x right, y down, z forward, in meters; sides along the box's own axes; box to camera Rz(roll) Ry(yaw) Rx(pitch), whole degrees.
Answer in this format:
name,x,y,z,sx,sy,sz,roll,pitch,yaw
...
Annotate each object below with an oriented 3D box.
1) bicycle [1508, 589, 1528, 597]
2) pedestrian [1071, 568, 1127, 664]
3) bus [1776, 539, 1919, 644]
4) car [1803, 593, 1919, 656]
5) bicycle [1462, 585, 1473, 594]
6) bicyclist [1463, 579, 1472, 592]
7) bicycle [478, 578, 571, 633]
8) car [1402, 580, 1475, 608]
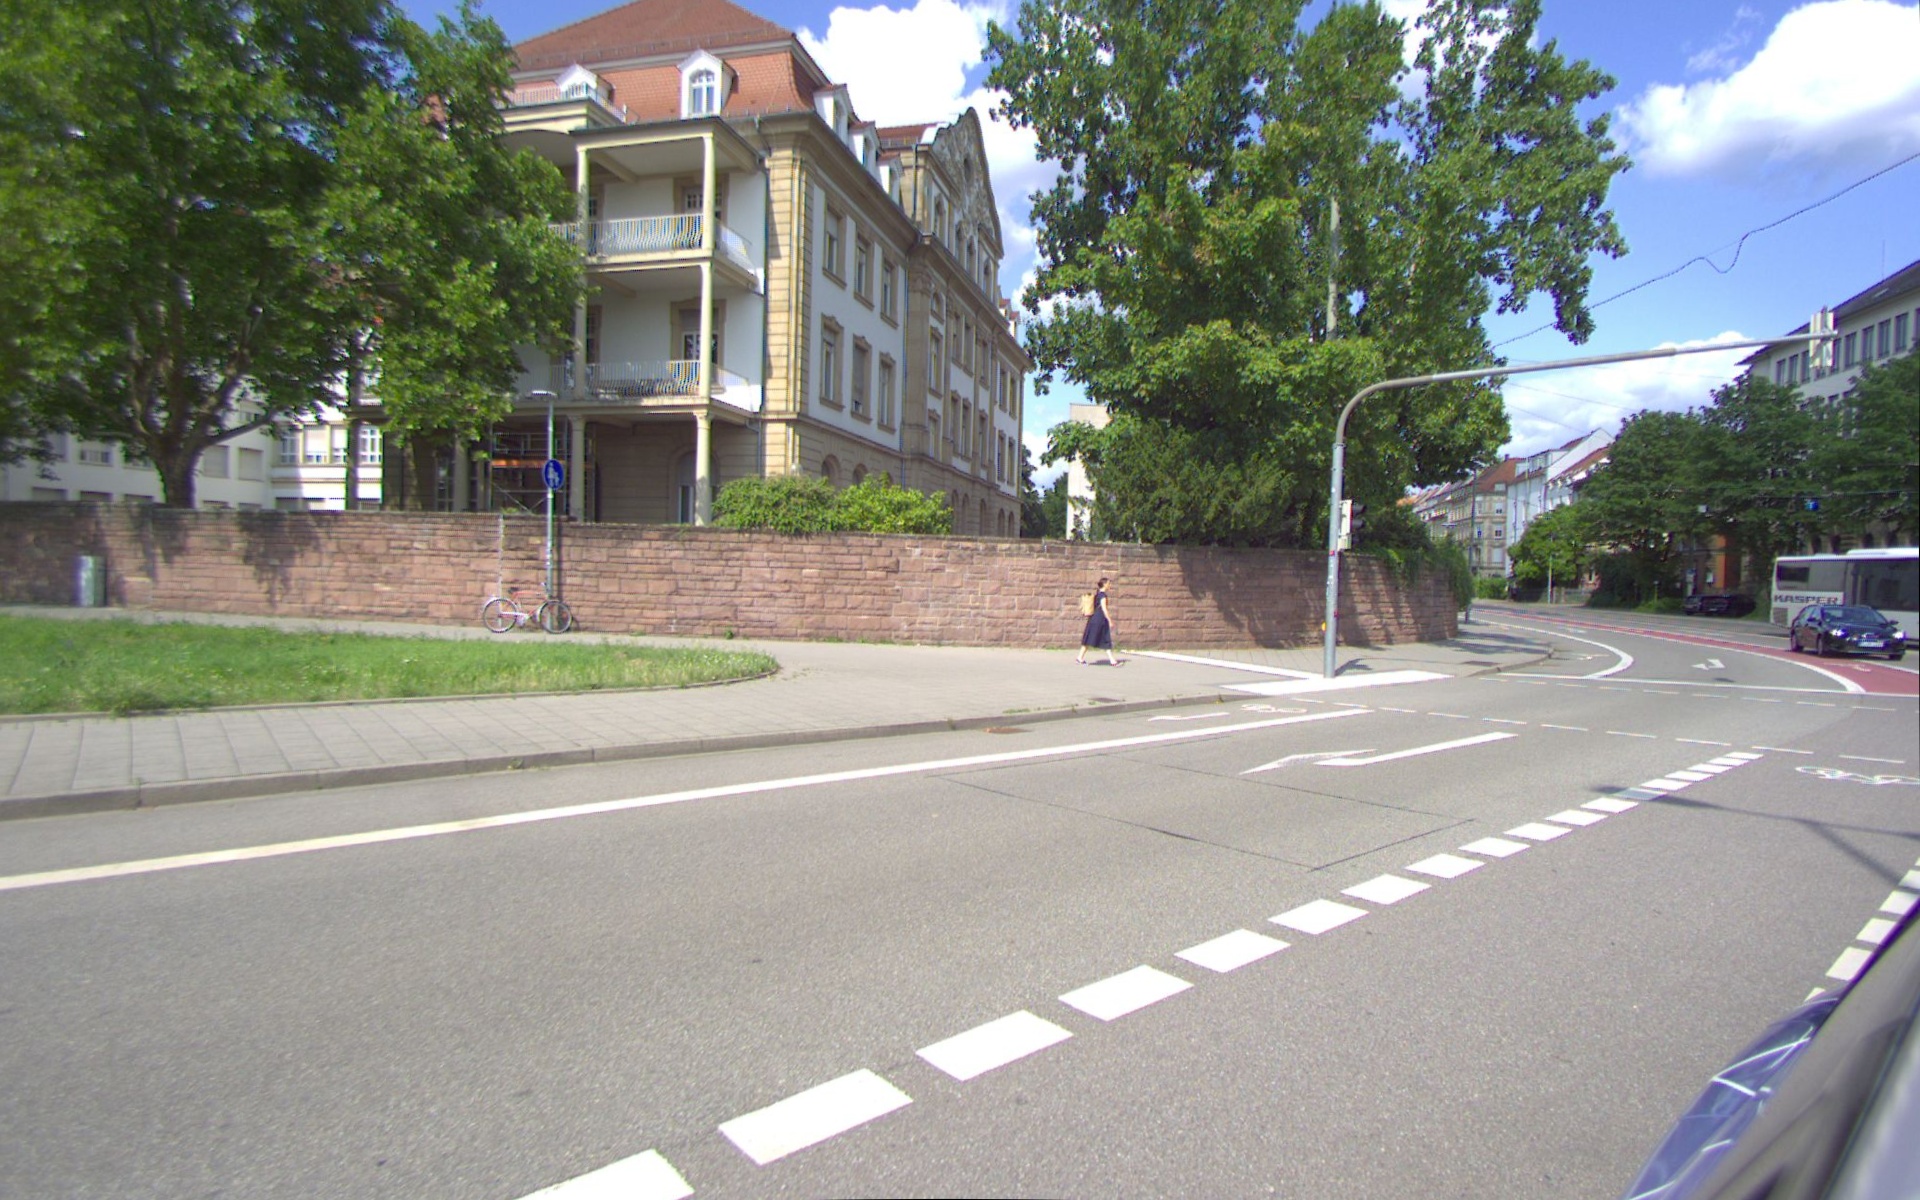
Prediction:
name,x,y,z,sx,sy,sz,roll,pitch,yaw
bicycle,61.975,-0.785,112.450,1.129,0.920,2.976,-1,1,14
pedestrian,2.493,0.268,18.209,0.871,1.659,0.749,2,1,3
bus,32.734,-0.306,34.255,2.883,3.369,12.159,1,2,13
car,25.552,0.629,28.769,1.680,1.596,4.113,2,1,30
bicycle,62.307,-1.271,124.209,0.690,1.030,1.814,3,2,11
bicyclist,62.349,-1.745,124.248,0.682,1.538,0.865,3,1,11
bicycle,-8.528,0.096,19.837,1.568,0.986,0.644,2,3,9
car,30.801,-0.379,65.237,3.830,1.625,1.660,2,0,10
